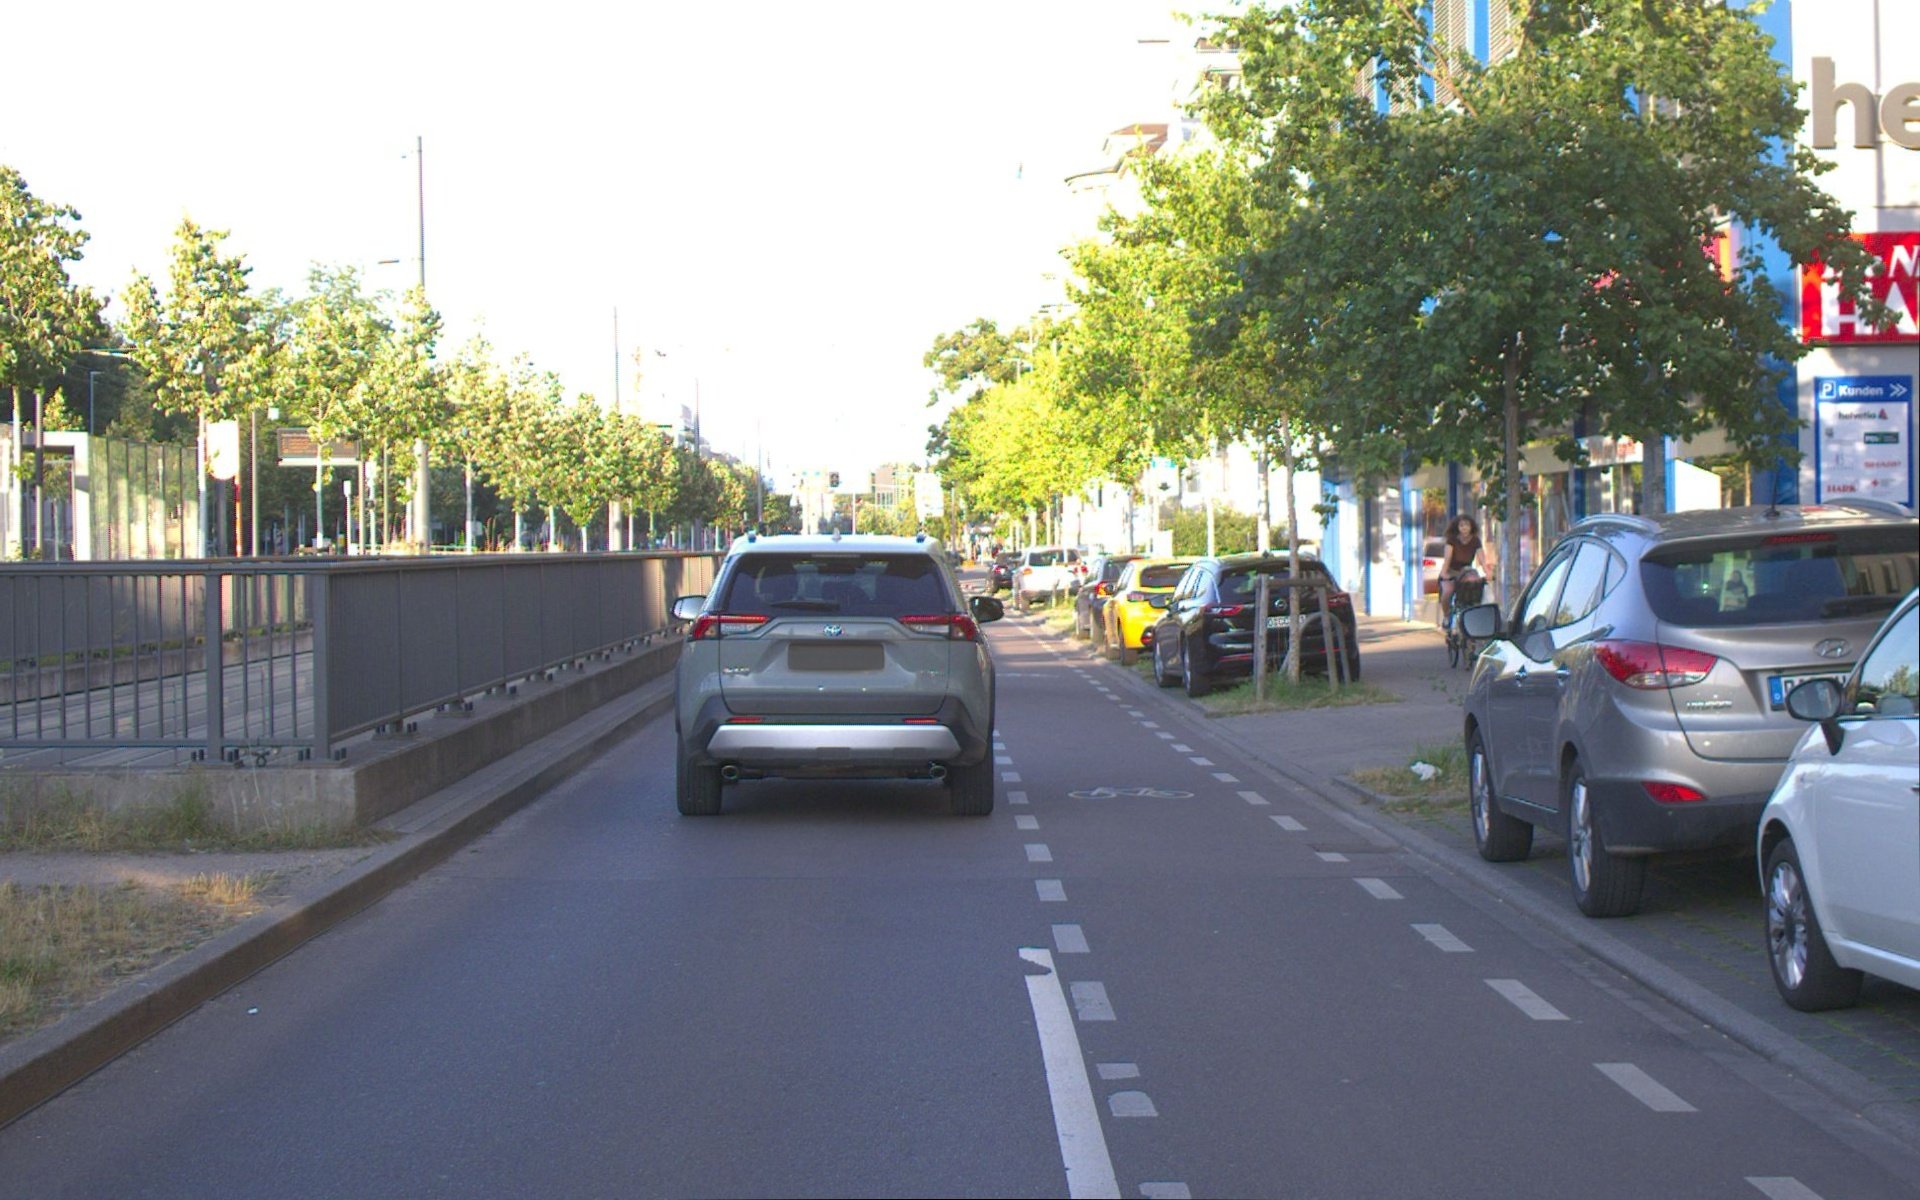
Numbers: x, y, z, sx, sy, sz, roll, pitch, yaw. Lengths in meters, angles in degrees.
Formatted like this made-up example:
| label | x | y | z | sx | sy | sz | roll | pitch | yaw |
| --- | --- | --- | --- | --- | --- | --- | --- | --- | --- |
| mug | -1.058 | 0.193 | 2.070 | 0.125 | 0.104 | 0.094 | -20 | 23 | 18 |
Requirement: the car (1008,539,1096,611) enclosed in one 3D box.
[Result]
| label | x | y | z | sx | sy | sz | roll | pitch | yaw |
| --- | --- | --- | --- | --- | --- | --- | --- | --- | --- |
| car | 2.305 | -0.664 | 87.458 | 1.854 | 1.701 | 4.255 | -3 | 1 | -3 |

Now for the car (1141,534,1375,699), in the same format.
| label | x | y | z | sx | sy | sz | roll | pitch | yaw |
| --- | --- | --- | --- | --- | --- | --- | --- | --- | --- |
| car | 3.173 | 0.141 | 37.532 | 1.819 | 1.561 | 4.811 | -4 | 1 | -3 |

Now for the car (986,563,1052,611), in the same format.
| label | x | y | z | sx | sy | sz | roll | pitch | yaw |
| --- | --- | --- | --- | --- | --- | --- | --- | --- | --- |
| car | 1.997 | -0.455 | 116.852 | 1.792 | 1.466 | 4.446 | -3 | 1 | -4 |

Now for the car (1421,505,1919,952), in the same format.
| label | x | y | z | sx | sy | sz | roll | pitch | yaw |
| --- | --- | --- | --- | --- | --- | --- | --- | --- | --- |
| car | 3.323 | 0.449 | 15.457 | 1.757 | 1.648 | 4.529 | -3 | 1 | -1 |

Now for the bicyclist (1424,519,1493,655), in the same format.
| label | x | y | z | sx | sy | sz | roll | pitch | yaw |
| --- | --- | --- | --- | --- | --- | --- | --- | --- | --- |
| bicyclist | 5.545 | -0.149 | 38.280 | 0.558 | 1.470 | 0.623 | -4 | 0 | -3 |

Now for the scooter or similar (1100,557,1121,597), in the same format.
| label | x | y | z | sx | sy | sz | roll | pitch | yaw |
| --- | --- | --- | --- | --- | --- | --- | --- | --- | --- |
| scooter or similar | 4.749 | -0.713 | 108.652 | 0.490 | 1.254 | 1.208 | 1 | 0 | -4 |

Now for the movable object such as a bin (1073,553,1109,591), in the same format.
| label | x | y | z | sx | sy | sz | roll | pitch | yaw |
| --- | --- | --- | --- | --- | --- | --- | --- | --- | --- |
| movable object such as a bin | 5.051 | -1.094 | 132.700 | 1.260 | 1.457 | 1.124 | 0 | 0 | -4 |

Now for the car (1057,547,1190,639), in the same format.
| label | x | y | z | sx | sy | sz | roll | pitch | yaw |
| --- | --- | --- | --- | --- | --- | --- | --- | --- | --- |
| car | 2.724 | -0.139 | 58.024 | 1.819 | 1.449 | 4.129 | -2 | 1 | -3 |

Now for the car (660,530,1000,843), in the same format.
| label | x | y | z | sx | sy | sz | roll | pitch | yaw |
| --- | --- | --- | --- | --- | --- | --- | --- | --- | --- |
| car | -0.822 | 0.468 | 21.248 | 1.857 | 1.708 | 4.193 | 1 | 0 | -3 |

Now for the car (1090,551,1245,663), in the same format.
| label | x | y | z | sx | sy | sz | roll | pitch | yaw |
| --- | --- | --- | --- | --- | --- | --- | --- | --- | --- |
| car | 2.849 | 0.074 | 47.867 | 1.683 | 1.449 | 4.130 | -2 | 1 | -3 |

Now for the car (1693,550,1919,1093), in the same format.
| label | x | y | z | sx | sy | sz | roll | pitch | yaw |
| --- | --- | --- | --- | --- | --- | --- | --- | --- | --- |
| car | 3.525 | 0.599 | 10.218 | 1.669 | 1.512 | 3.602 | -4 | 1 | -3 |

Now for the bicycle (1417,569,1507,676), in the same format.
| label | x | y | z | sx | sy | sz | roll | pitch | yaw |
| --- | --- | --- | --- | --- | --- | --- | --- | --- | --- |
| bicycle | 5.577 | 0.234 | 38.256 | 0.554 | 1.125 | 1.974 | -4 | 0 | -3 |
